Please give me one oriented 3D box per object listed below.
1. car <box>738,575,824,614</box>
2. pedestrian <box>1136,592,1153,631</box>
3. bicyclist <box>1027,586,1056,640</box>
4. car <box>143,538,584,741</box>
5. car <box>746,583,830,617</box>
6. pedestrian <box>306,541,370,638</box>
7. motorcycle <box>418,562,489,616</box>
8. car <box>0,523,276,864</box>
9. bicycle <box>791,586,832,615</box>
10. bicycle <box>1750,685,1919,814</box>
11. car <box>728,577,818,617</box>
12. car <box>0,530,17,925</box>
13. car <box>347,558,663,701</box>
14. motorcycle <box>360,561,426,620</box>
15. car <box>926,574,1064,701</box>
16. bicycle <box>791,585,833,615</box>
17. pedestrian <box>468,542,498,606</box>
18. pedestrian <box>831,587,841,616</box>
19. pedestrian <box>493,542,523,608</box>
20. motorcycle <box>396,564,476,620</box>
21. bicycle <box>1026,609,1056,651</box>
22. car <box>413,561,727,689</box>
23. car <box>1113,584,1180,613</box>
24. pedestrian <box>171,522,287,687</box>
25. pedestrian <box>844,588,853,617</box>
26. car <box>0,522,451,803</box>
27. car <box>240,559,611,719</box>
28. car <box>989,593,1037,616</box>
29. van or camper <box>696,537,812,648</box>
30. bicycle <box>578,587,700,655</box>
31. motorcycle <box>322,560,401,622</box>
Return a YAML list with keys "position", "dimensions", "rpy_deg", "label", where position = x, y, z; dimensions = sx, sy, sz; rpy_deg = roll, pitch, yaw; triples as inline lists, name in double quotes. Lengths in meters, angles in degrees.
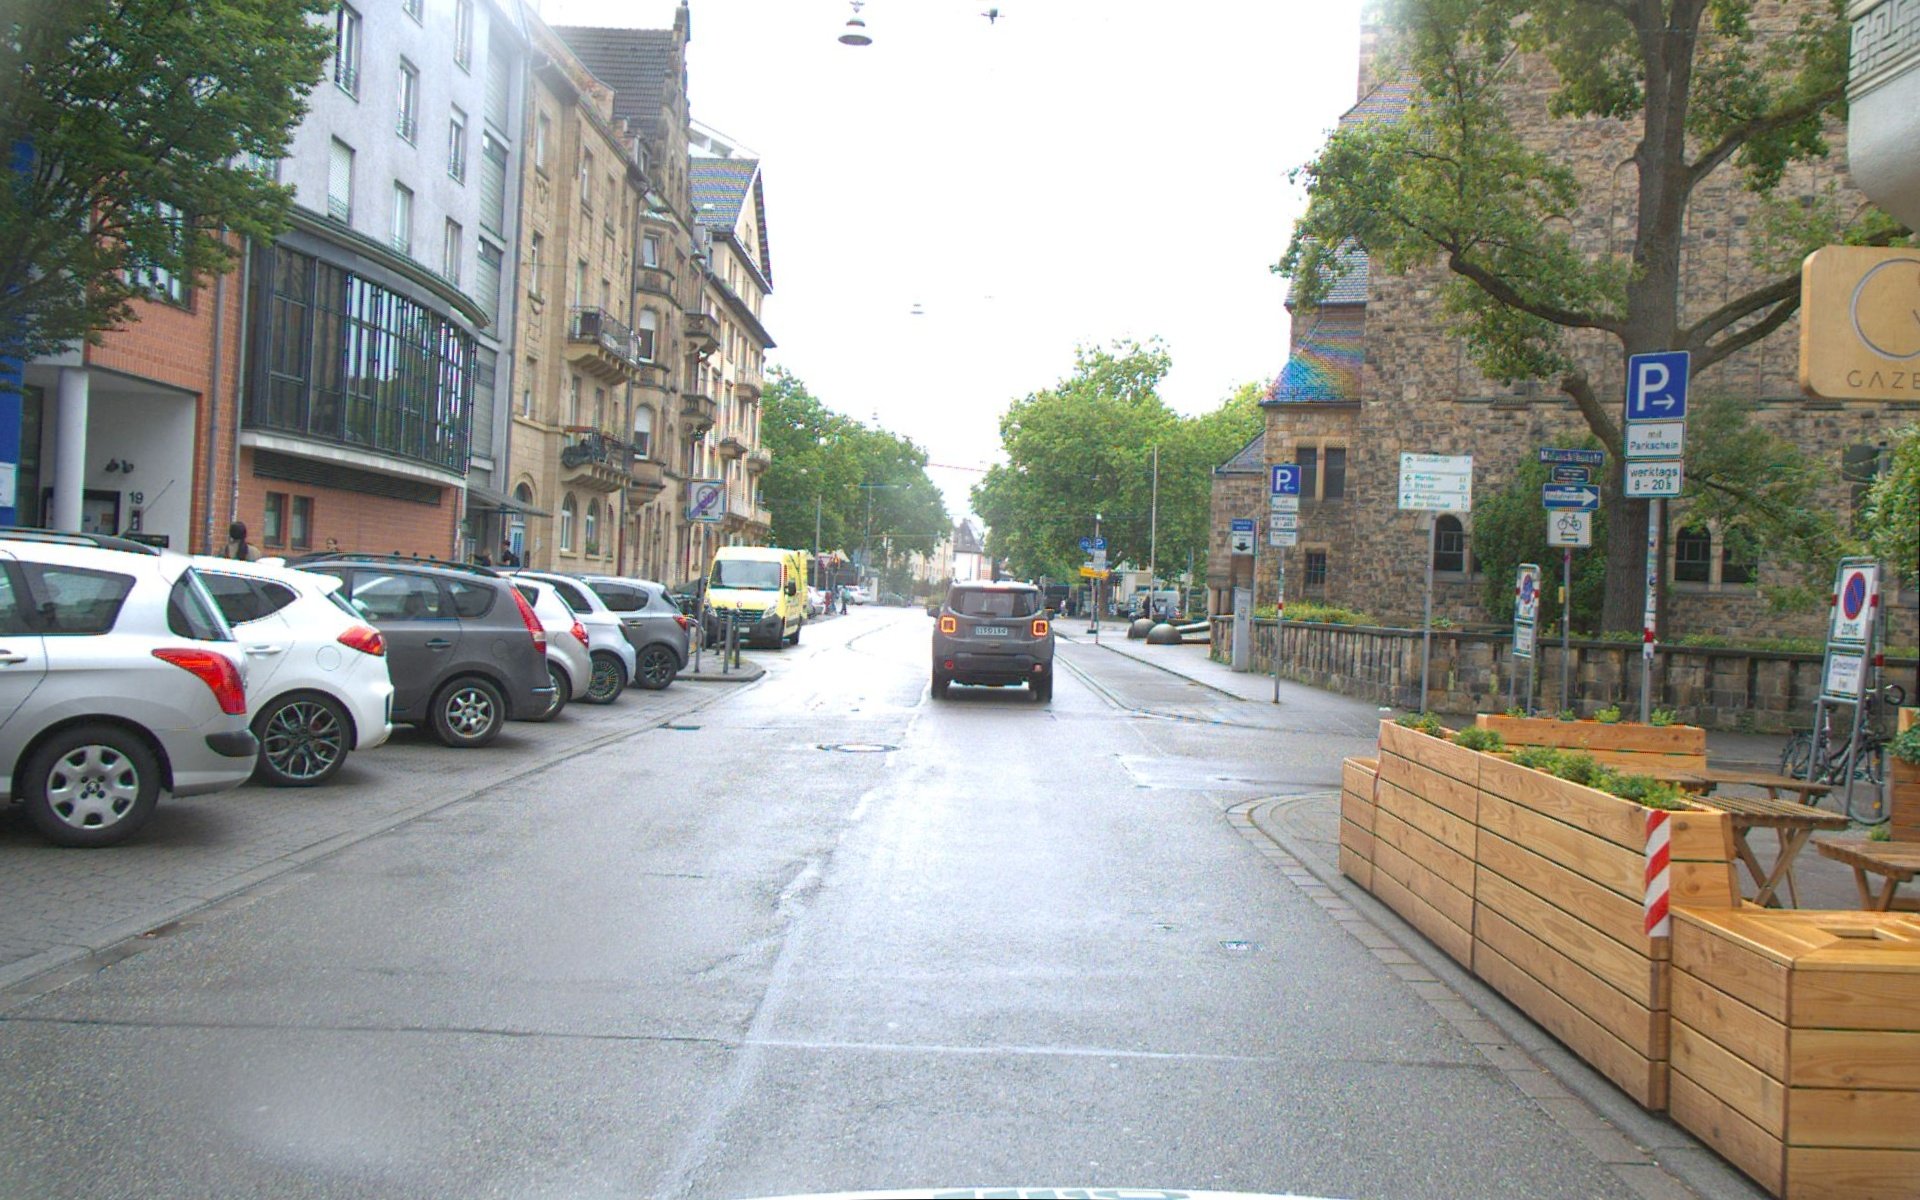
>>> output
- position: [-8.572, -0.249, 79.345]
  dimensions: [3.695, 1.585, 1.653]
  rpy_deg: [4, -1, -33]
  label: "car"
- position: [8.442, 0.527, 75.575]
  dimensions: [0.676, 1.741, 0.684]
  rpy_deg: [2, 0, 0]
  label: "pedestrian"
- position: [2.173, 0.342, 44.254]
  dimensions: [0.690, 1.428, 1.171]
  rpy_deg: [2, 0, 1]
  label: "bicyclist"
- position: [-5.204, 0.359, 14.497]
  dimensions: [3.341, 1.568, 1.663]
  rpy_deg: [3, 0, -31]
  label: "car"
- position: [-7.974, 0.004, 76.720]
  dimensions: [3.382, 1.339, 1.759]
  rpy_deg: [4, -1, -33]
  label: "car"
- position: [-10.608, -0.176, 28.227]
  dimensions: [0.694, 1.578, 0.608]
  rpy_deg: [5, 0, 7]
  label: "pedestrian"
- position: [-12.309, -0.259, 40.239]
  dimensions: [0.560, 1.194, 1.780]
  rpy_deg: [5, 0, 23]
  label: "motorcycle"
- position: [-5.502, 0.438, 8.609]
  dimensions: [3.343, 1.683, 1.616]
  rpy_deg: [1, 0, -33]
  label: "car"
- position: [-7.834, 0.019, 87.131]
  dimensions: [2.061, 1.469, 0.488]
  rpy_deg: [2, 0, -20]
  label: "bicycle"
- position: [7.355, 1.224, 13.964]
  dimensions: [0.442, 0.996, 1.920]
  rpy_deg: [3, -3, 0]
  label: "bicycle"
- position: [-8.302, -0.136, 73.608]
  dimensions: [3.464, 1.544, 1.864]
  rpy_deg: [4, -1, -33]
  label: "car"
- position: [-5.513, 0.425, 5.825]
  dimensions: [3.671, 1.477, 1.665]
  rpy_deg: [1, 0, -35]
  label: "car"
- position: [-5.500, 0.359, 20.047]
  dimensions: [3.340, 1.533, 1.664]
  rpy_deg: [3, 0, -30]
  label: "car"
- position: [-12.433, -0.218, 36.320]
  dimensions: [0.738, 1.194, 2.114]
  rpy_deg: [5, 0, -3]
  label: "motorcycle"
- position: [0.463, 0.517, 25.221]
  dimensions: [1.860, 1.700, 4.505]
  rpy_deg: [2, 0, -1]
  label: "car"
- position: [-7.702, -0.005, 86.138]
  dimensions: [2.078, 1.469, 0.536]
  rpy_deg: [2, 0, -20]
  label: "bicycle"
- position: [-13.011, -0.707, 45.075]
  dimensions: [0.651, 1.704, 0.791]
  rpy_deg: [2, 0, -23]
  label: "pedestrian"
- position: [-6.993, 0.089, 93.181]
  dimensions: [0.458, 1.613, 0.659]
  rpy_deg: [2, 0, -1]
  label: "pedestrian"
- position: [-12.400, -0.691, 45.359]
  dimensions: [0.651, 1.788, 0.791]
  rpy_deg: [2, 0, -23]
  label: "pedestrian"
- position: [-12.151, -0.170, 38.443]
  dimensions: [0.737, 1.194, 2.117]
  rpy_deg: [5, 0, 12]
  label: "motorcycle"
- position: [2.157, 0.788, 44.254]
  dimensions: [0.690, 1.072, 1.813]
  rpy_deg: [2, 0, 1]
  label: "bicycle"
- position: [-5.377, 0.351, 22.831]
  dimensions: [3.778, 1.533, 1.969]
  rpy_deg: [3, 0, -30]
  label: "car"
- position: [16.712, -0.126, 148.246]
  dimensions: [5.780, 2.375, 2.061]
  rpy_deg: [2, 0, 4]
  label: "car"
- position: [-8.342, 0.046, 18.904]
  dimensions: [0.808, 1.782, 0.757]
  rpy_deg: [5, 0, 7]
  label: "pedestrian"
- position: [-6.328, 0.139, 93.888]
  dimensions: [0.458, 1.613, 0.752]
  rpy_deg: [2, 0, -1]
  label: "pedestrian"
- position: [-5.992, 0.343, 10.962]
  dimensions: [4.468, 1.566, 2.312]
  rpy_deg: [7, -3, -33]
  label: "car"
- position: [-5.583, 0.420, 17.358]
  dimensions: [3.344, 1.483, 1.662]
  rpy_deg: [3, 0, -33]
  label: "car"
- position: [3.857, 0.330, 119.290]
  dimensions: [3.121, 1.527, 1.542]
  rpy_deg: [2, 0, 18]
  label: "car"
- position: [-5.179, -0.073, 42.493]
  dimensions: [2.078, 2.575, 6.873]
  rpy_deg: [-1, -2, 0]
  label: "van or camper"
- position: [-5.980, 0.381, 30.858]
  dimensions: [2.089, 1.116, 0.594]
  rpy_deg: [4, 0, 1]
  label: "bicycle"
- position: [-12.334, -0.181, 34.168]
  dimensions: [0.738, 1.194, 2.116]
  rpy_deg: [5, 0, 1]
  label: "motorcycle"
